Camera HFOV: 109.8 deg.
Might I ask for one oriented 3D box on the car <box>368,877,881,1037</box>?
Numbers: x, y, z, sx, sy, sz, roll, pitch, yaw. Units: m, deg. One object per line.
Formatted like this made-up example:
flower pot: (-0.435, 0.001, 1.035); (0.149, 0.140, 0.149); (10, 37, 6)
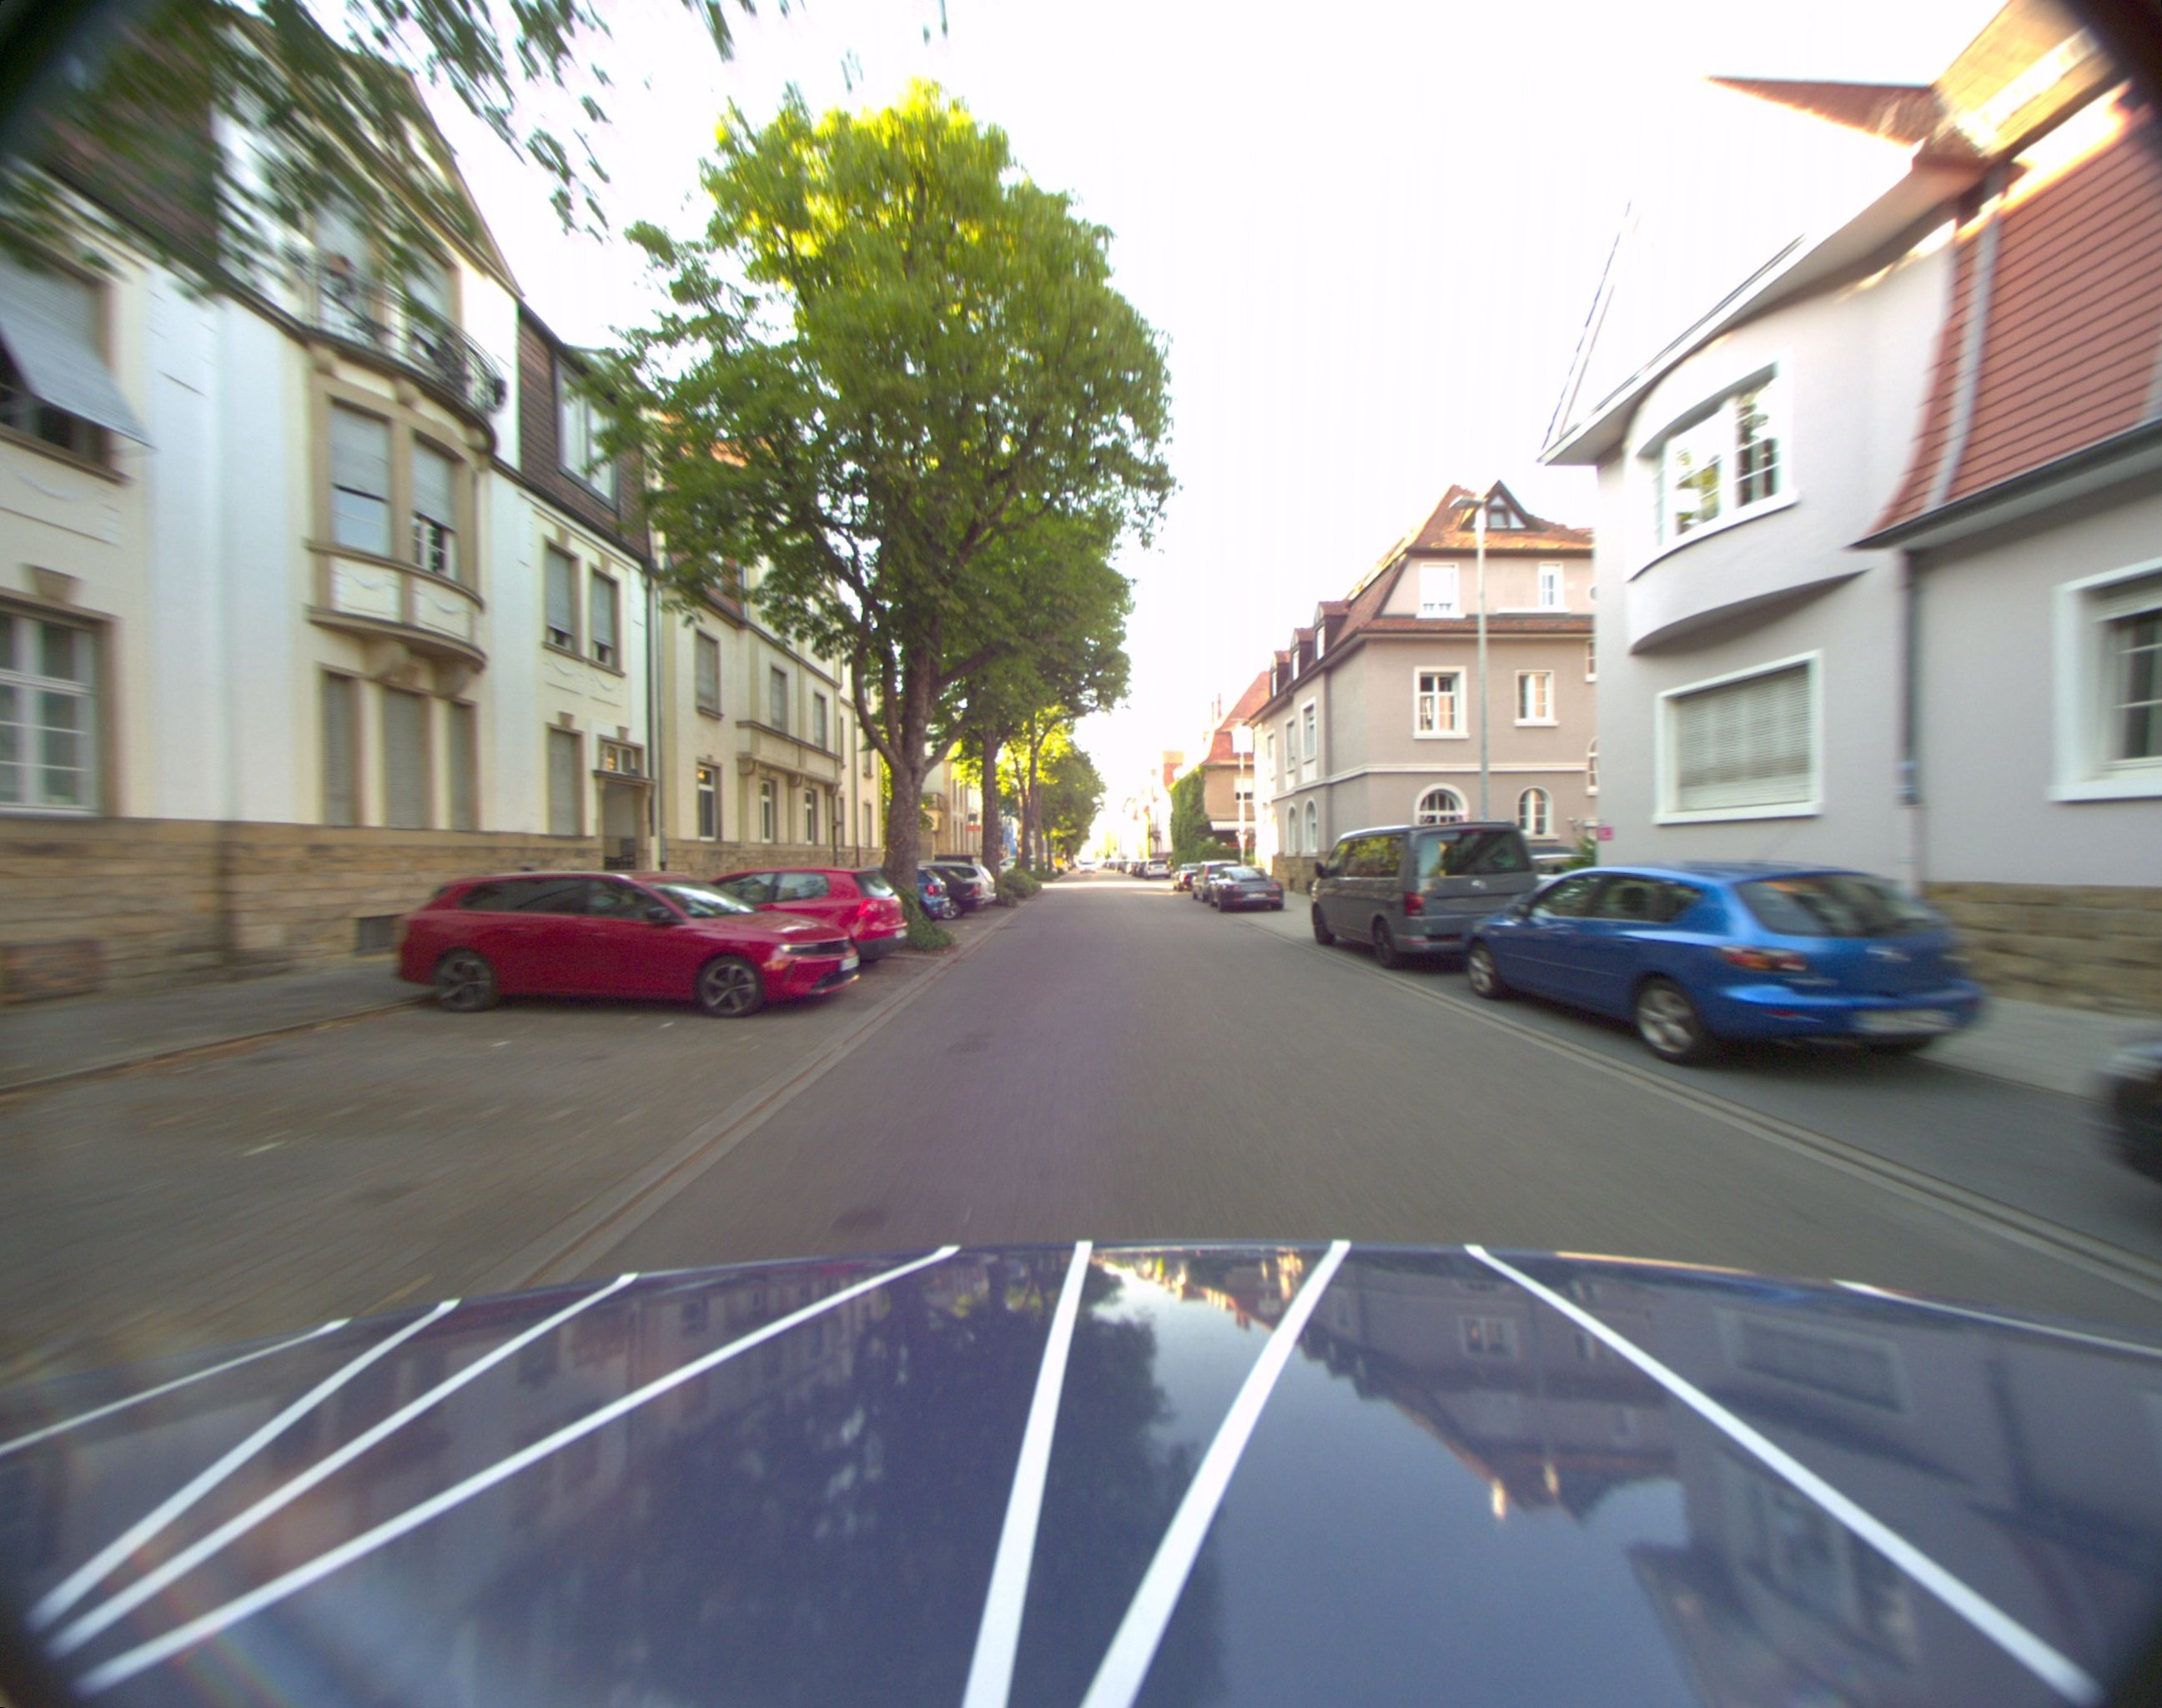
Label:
car: (-4.727, 1.018, 8.325); (4.530, 1.443, 1.868); (0, 0, 3)

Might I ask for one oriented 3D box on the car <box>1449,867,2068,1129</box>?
car: (5.075, 0.908, 6.621); (1.767, 1.438, 4.062); (-3, 0, 1)

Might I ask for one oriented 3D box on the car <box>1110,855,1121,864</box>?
car: (6.148, 0.957, 135.415); (1.699, 1.520, 3.677); (-3, 0, 2)

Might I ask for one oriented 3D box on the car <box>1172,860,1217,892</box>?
car: (5.415, 1.008, 36.665); (1.662, 1.354, 3.677); (-3, 0, 2)

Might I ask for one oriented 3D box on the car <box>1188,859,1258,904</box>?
car: (5.209, 0.966, 28.425); (1.932, 1.458, 4.063); (-3, 0, 2)

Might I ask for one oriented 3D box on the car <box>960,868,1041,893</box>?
car: (-3.561, 1.181, 33.907); (3.399, 1.057, 1.543); (0, 0, 2)

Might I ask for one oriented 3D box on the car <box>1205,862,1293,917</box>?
car: (4.953, 1.005, 22.949); (1.932, 1.376, 4.063); (-3, 0, 4)

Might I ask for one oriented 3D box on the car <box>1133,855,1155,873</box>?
car: (5.498, 0.876, 67.053); (1.699, 1.520, 3.677); (-3, 0, 2)

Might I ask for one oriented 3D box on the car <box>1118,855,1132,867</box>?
car: (5.921, 0.949, 102.152); (1.699, 1.520, 3.677); (-3, 0, 2)

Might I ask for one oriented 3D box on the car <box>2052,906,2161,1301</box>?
car: (4.882, 0.909, 0.898); (1.806, 1.438, 4.428); (-3, 0, 1)

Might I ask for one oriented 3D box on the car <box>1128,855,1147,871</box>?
car: (5.722, 0.861, 77.299); (1.699, 1.520, 3.677); (-3, 0, 2)

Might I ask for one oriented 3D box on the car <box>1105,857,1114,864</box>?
car: (6.005, 1.381, 159.587); (1.699, 1.520, 3.677); (-3, 0, 2)

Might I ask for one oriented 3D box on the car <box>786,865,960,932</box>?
car: (-4.860, 1.017, 18.050); (3.680, 1.457, 1.576); (0, 0, 2)

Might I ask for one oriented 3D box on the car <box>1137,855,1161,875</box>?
car: (5.462, 0.879, 61.558); (1.699, 1.520, 3.677); (-3, 0, 2)

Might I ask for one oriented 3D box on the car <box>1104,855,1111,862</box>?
car: (6.507, 1.147, 188.970); (1.699, 1.520, 3.677); (-3, 0, 2)

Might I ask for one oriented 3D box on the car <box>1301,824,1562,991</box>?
car: (4.971, 0.662, 11.636); (1.842, 1.963, 4.612); (-3, 0, 1)

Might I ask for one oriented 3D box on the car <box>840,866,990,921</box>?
car: (-4.424, 1.047, 20.600); (3.680, 1.390, 1.576); (0, 0, 2)

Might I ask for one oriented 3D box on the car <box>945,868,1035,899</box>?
car: (-3.631, 1.176, 30.652); (3.399, 1.143, 1.543); (0, 0, 2)

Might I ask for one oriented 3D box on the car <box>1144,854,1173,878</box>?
car: (5.504, 0.846, 54.292); (1.699, 1.558, 3.677); (-3, 0, 2)

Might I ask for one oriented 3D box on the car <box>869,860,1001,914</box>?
car: (-4.407, 0.979, 23.193); (3.680, 1.548, 1.576); (0, 0, 2)

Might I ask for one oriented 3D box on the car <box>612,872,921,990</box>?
car: (-4.321, 1.017, 10.795); (3.680, 1.473, 1.659); (0, 0, 3)

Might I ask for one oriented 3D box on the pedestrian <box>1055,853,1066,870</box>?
pedestrian: (-2.308, 0.827, 84.398); (1.119, 1.926, 1.097); (-2, 0, 0)

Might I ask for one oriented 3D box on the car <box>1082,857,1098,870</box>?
car: (1.064, 1.084, 89.179); (1.819, 1.454, 4.073); (-2, 0, 1)
